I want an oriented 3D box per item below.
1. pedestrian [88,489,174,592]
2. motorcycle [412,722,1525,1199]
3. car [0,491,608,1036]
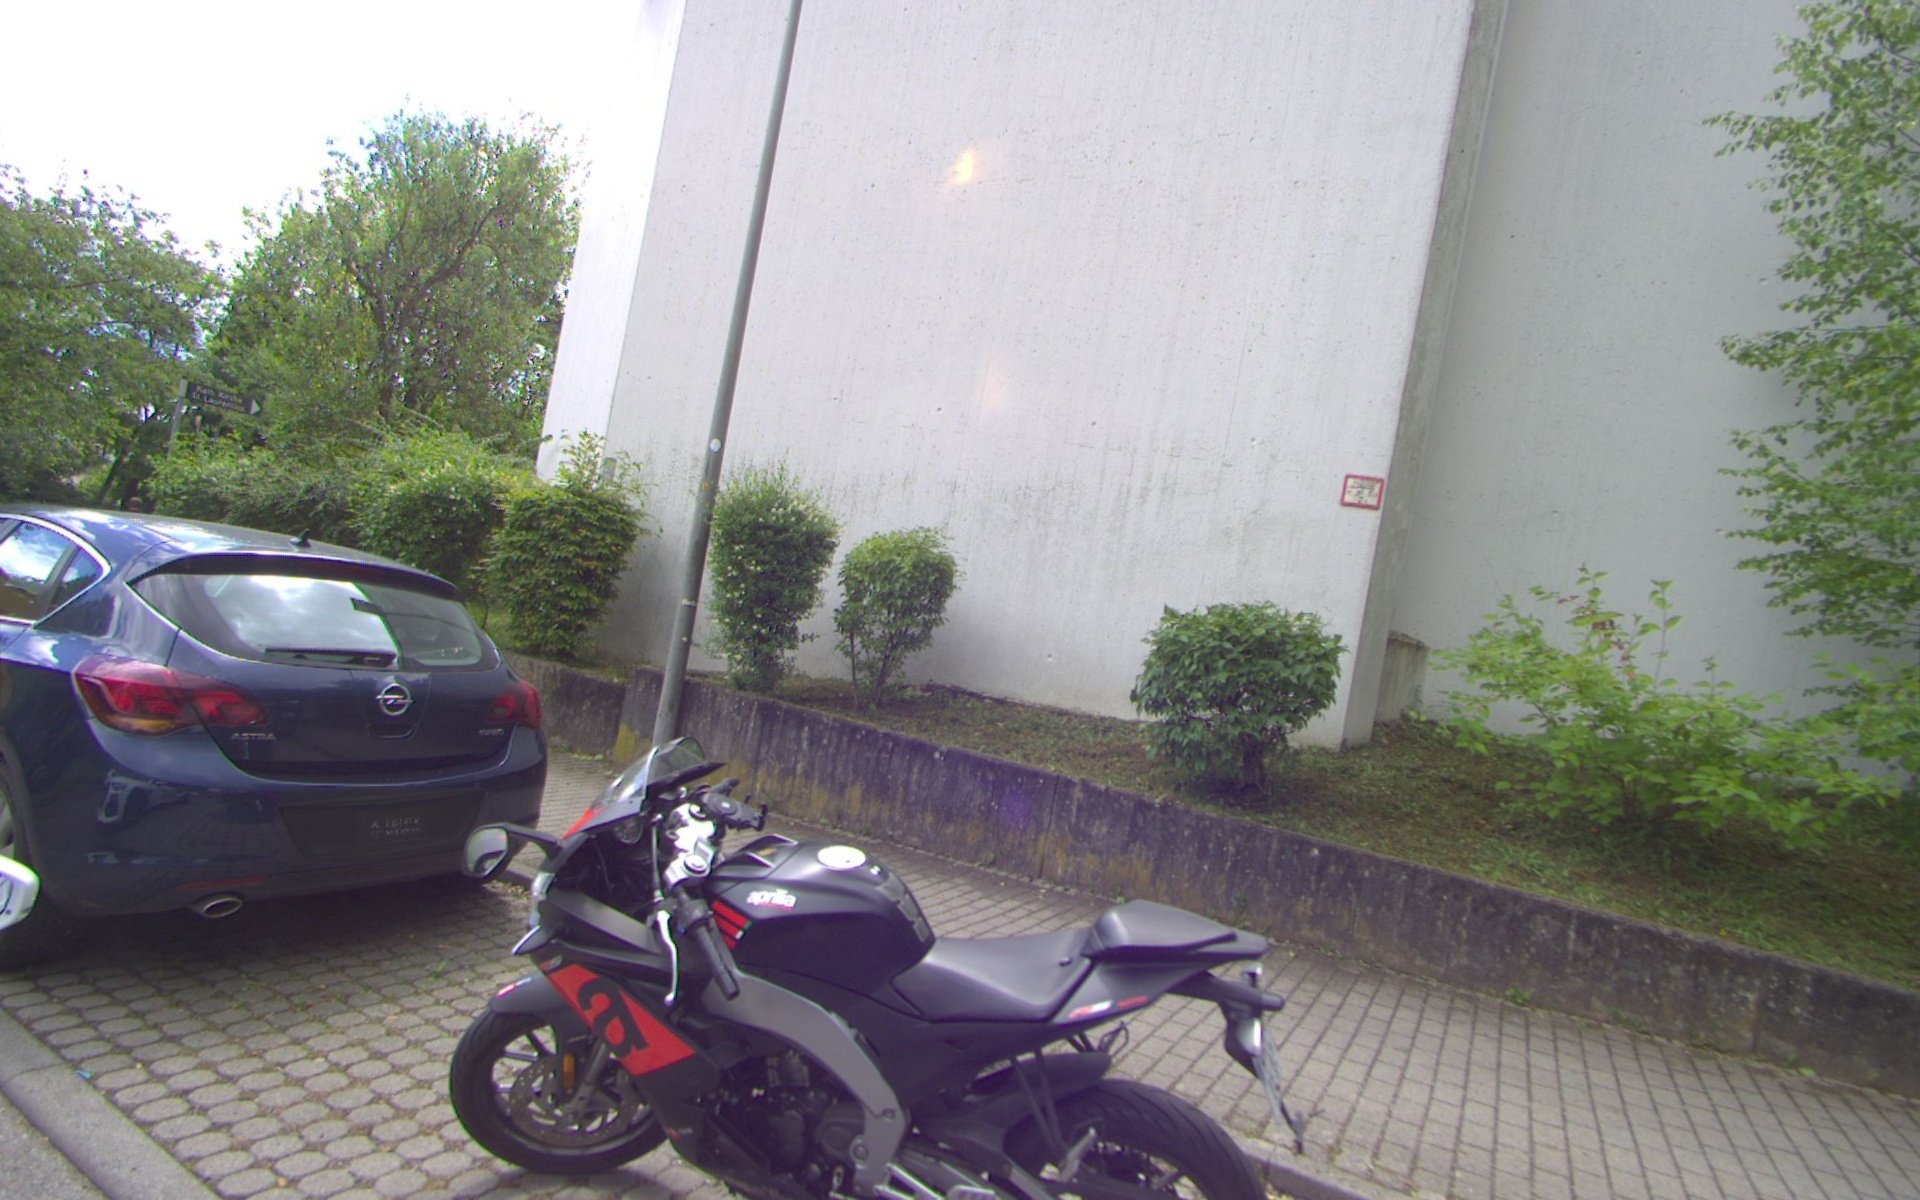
[{"bbox_3d":[-15.468,-1.097,18.775,0.772,1.757,0.834,7,-1,26],"label":"pedestrian"},{"bbox_3d":[-0.050,0.941,2.051,1.894,1.080,0.710,7,-1,19],"label":"motorcycle"},{"bbox_3d":[-3.655,0.329,4.419,3.932,1.437,1.694,7,-1,30],"label":"car"}]
